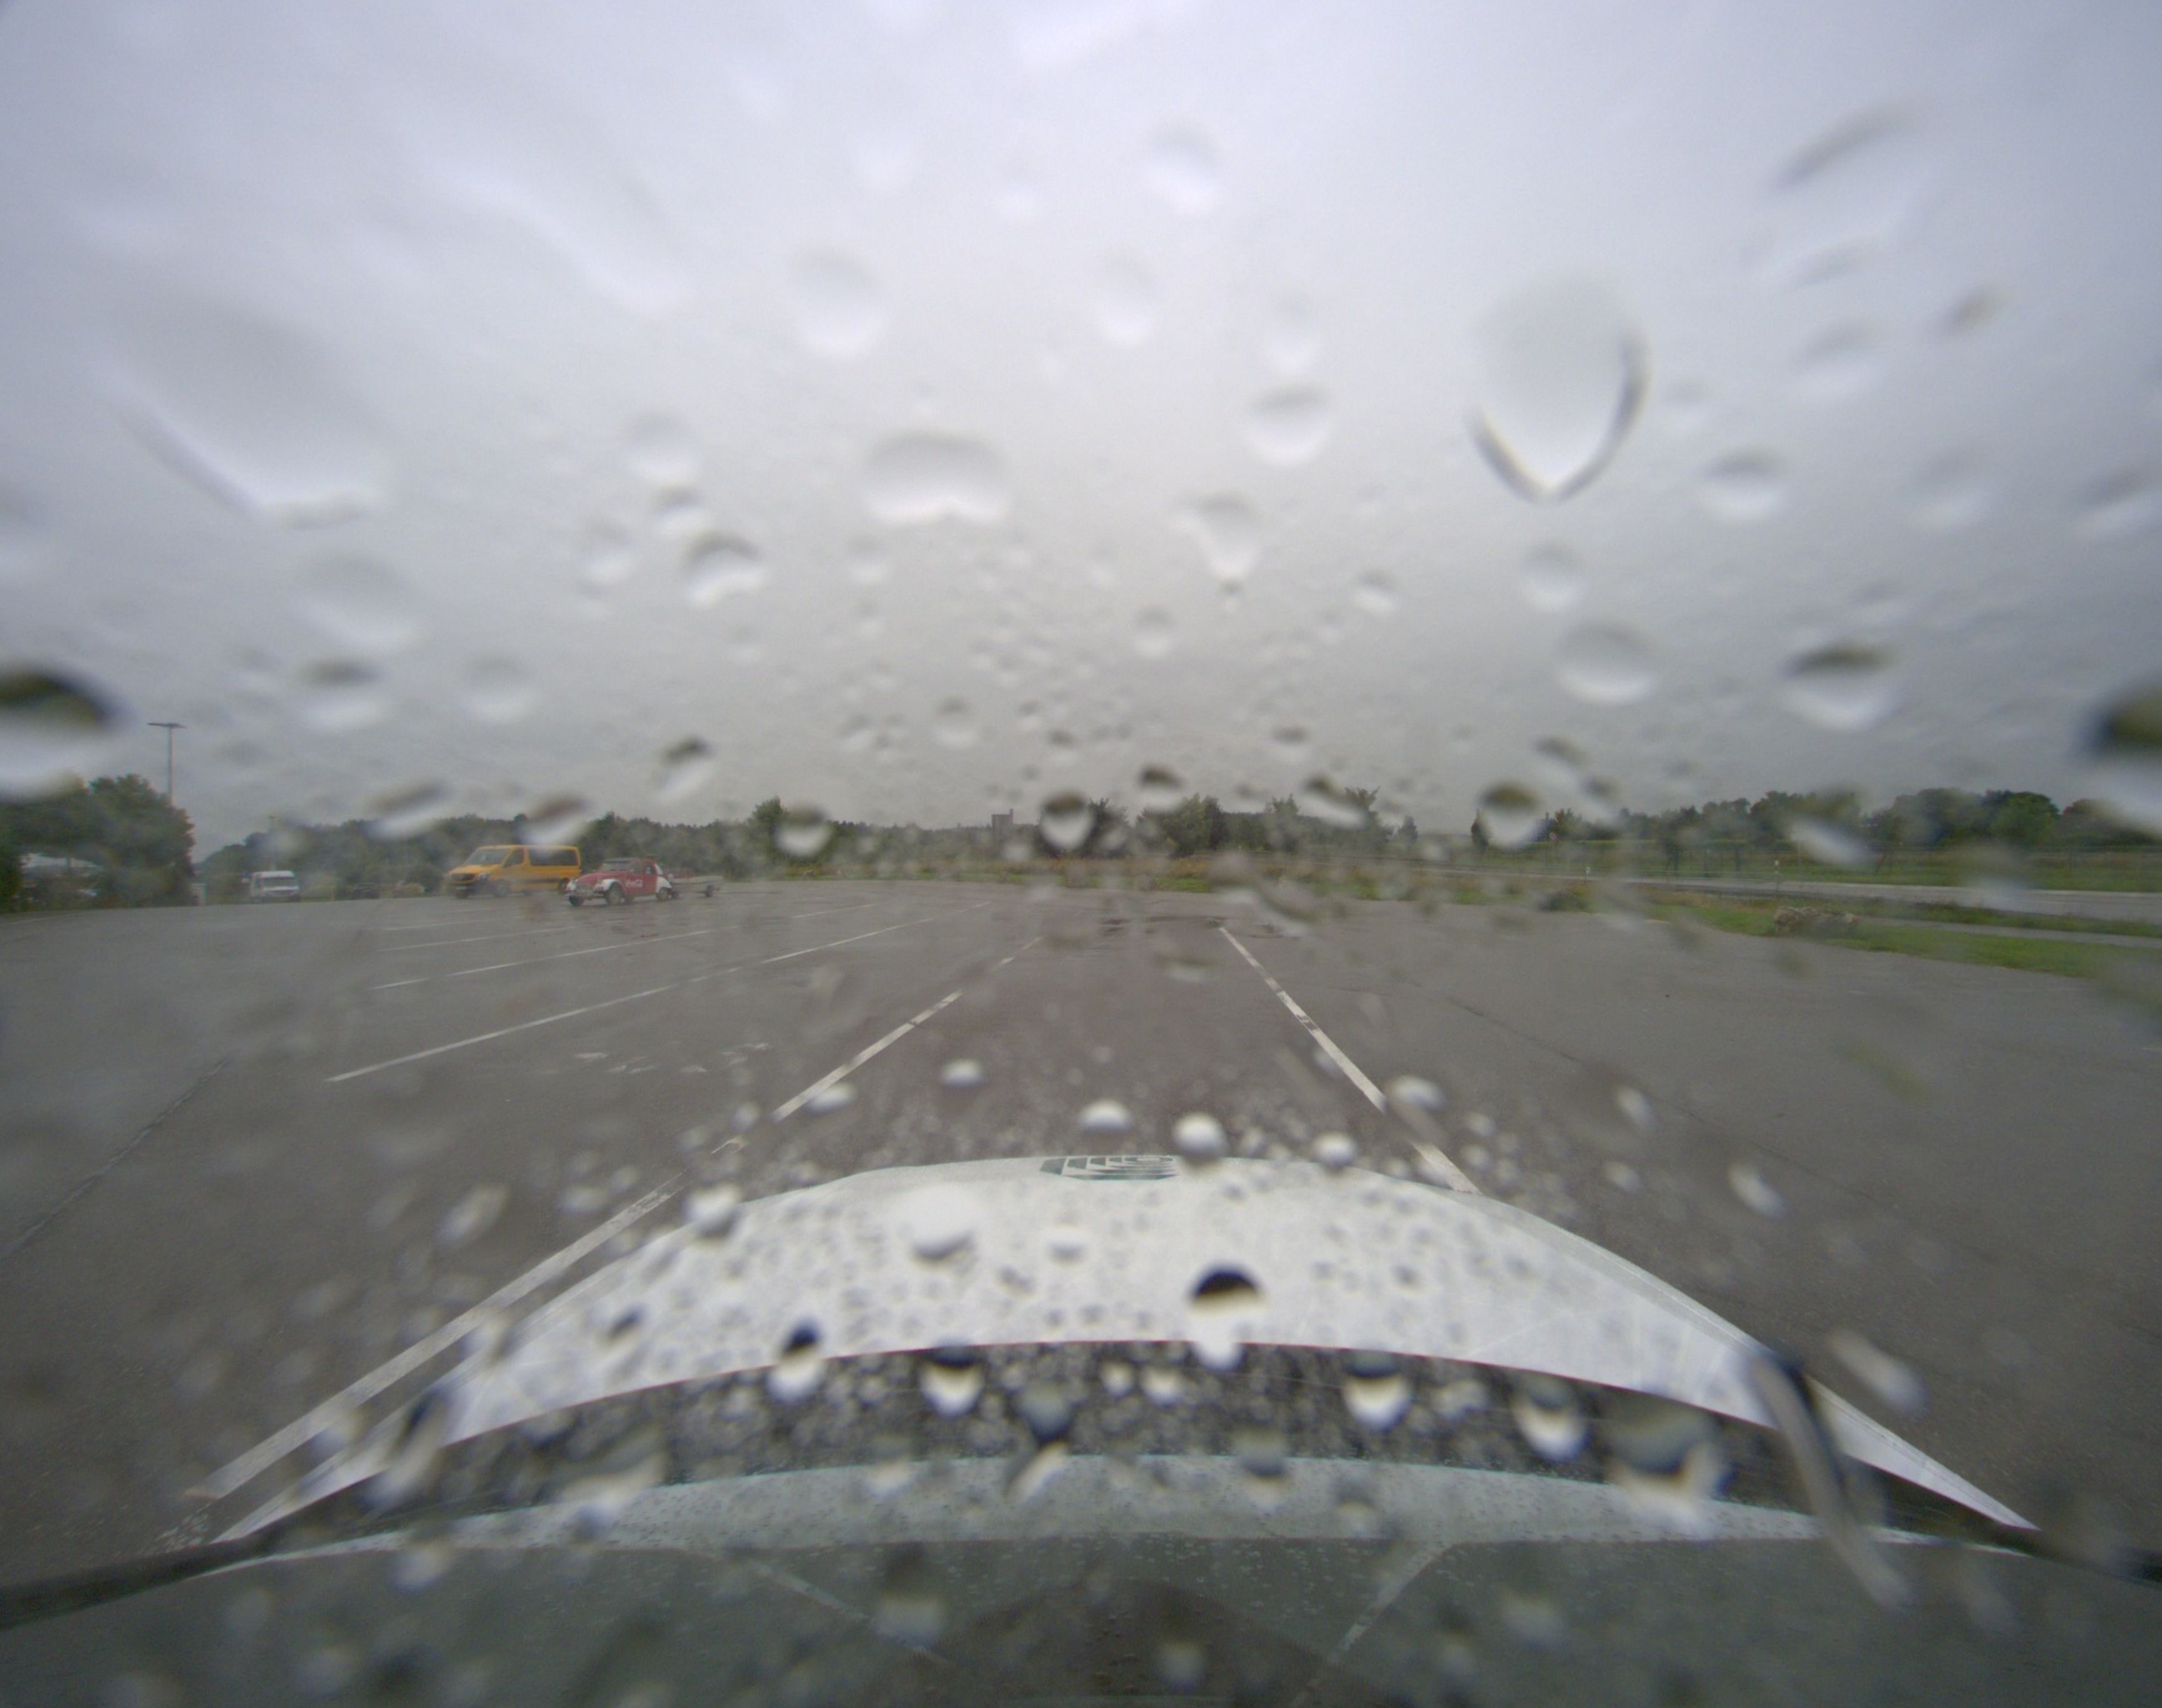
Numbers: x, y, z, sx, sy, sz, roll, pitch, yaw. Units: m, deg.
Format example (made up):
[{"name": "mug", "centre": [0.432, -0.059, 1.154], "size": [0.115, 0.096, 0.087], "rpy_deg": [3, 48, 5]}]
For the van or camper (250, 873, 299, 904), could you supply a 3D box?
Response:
[{"name": "van or camper", "centre": [-59.927, 2.548, 60.467], "size": [3.948, 2.166, 2.013], "rpy_deg": [-2, -1, 37]}]

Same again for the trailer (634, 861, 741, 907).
[{"name": "trailer", "centre": [-14.823, 1.085, 30.911], "size": [1.686, 1.532, 4.008], "rpy_deg": [-2, 0, 7]}]

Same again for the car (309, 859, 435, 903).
[{"name": "car", "centre": [-38.507, 1.412, 44.393], "size": [1.976, 2.201, 4.798], "rpy_deg": [0, 0, 21]}]

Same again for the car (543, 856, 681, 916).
[{"name": "car", "centre": [-15.351, 0.991, 26.927], "size": [1.812, 1.777, 4.008], "rpy_deg": [-2, 0, 8]}]

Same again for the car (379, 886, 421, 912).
[{"name": "car", "centre": [-55.645, 3.676, 66.552], "size": [3.948, 2.013, 1.698], "rpy_deg": [-3, 0, 37]}]

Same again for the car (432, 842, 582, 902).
[{"name": "car", "centre": [-25.229, 0.761, 36.182], "size": [1.984, 2.380, 6.032], "rpy_deg": [-3, -1, 4]}]
